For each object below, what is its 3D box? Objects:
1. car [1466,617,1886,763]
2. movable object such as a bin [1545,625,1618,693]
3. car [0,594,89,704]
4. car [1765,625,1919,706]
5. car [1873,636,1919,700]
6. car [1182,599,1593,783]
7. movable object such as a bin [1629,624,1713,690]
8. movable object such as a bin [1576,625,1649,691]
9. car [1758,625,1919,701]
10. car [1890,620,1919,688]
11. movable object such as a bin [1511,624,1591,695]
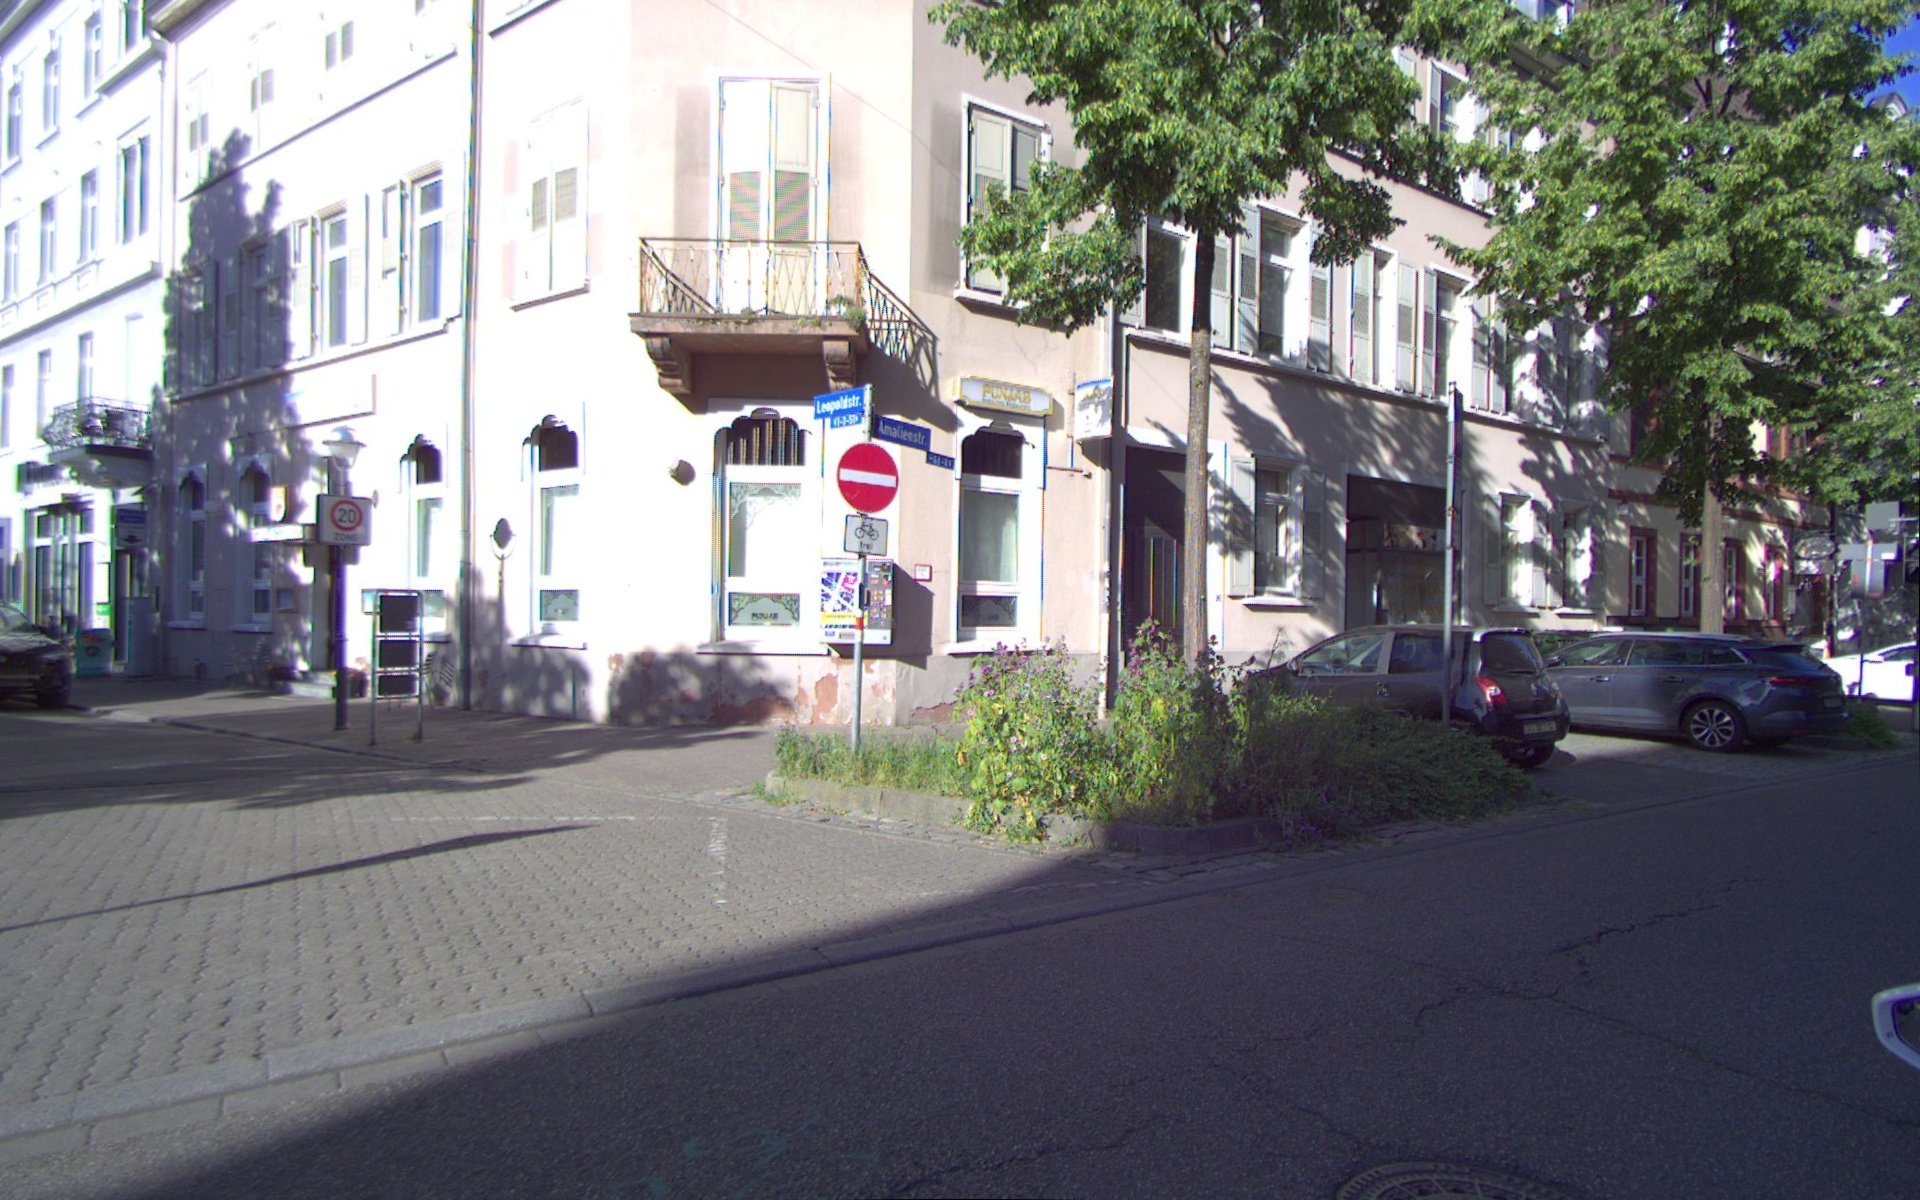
[{"bbox_3d":[9.611,1.090,13.879,1.922,1.565,4.317,2,0,-30],"label":"car"},{"bbox_3d":[13.370,1.258,21.624,1.233,1.373,0.825,2,0,-30],"label":"movable object such as a bin"},{"bbox_3d":[-15.198,0.685,15.211,4.309,1.537,1.923,0,-1,33],"label":"car"},{"bbox_3d":[20.064,1.422,21.011,1.982,1.512,4.664,3,0,-37],"label":"car"},{"bbox_3d":[25.742,1.772,25.047,1.951,1.565,4.296,2,0,-44],"label":"car"},{"bbox_3d":[4.665,0.873,11.539,1.922,1.662,3.967,2,0,-31],"label":"car"},{"bbox_3d":[16.783,1.328,23.713,1.365,1.464,1.128,2,0,-30],"label":"movable object such as a bin"},{"bbox_3d":[14.487,1.283,22.308,1.329,1.380,0.813,2,0,-30],"label":"movable object such as a bin"},{"bbox_3d":[21.555,1.447,23.105,1.982,1.512,4.664,1,1,-37],"label":"car"},{"bbox_3d":[27.897,1.545,26.691,1.908,1.848,4.317,2,0,-31],"label":"car"},{"bbox_3d":[12.308,1.229,20.931,1.246,1.385,0.905,2,0,-30],"label":"movable object such as a bin"}]
